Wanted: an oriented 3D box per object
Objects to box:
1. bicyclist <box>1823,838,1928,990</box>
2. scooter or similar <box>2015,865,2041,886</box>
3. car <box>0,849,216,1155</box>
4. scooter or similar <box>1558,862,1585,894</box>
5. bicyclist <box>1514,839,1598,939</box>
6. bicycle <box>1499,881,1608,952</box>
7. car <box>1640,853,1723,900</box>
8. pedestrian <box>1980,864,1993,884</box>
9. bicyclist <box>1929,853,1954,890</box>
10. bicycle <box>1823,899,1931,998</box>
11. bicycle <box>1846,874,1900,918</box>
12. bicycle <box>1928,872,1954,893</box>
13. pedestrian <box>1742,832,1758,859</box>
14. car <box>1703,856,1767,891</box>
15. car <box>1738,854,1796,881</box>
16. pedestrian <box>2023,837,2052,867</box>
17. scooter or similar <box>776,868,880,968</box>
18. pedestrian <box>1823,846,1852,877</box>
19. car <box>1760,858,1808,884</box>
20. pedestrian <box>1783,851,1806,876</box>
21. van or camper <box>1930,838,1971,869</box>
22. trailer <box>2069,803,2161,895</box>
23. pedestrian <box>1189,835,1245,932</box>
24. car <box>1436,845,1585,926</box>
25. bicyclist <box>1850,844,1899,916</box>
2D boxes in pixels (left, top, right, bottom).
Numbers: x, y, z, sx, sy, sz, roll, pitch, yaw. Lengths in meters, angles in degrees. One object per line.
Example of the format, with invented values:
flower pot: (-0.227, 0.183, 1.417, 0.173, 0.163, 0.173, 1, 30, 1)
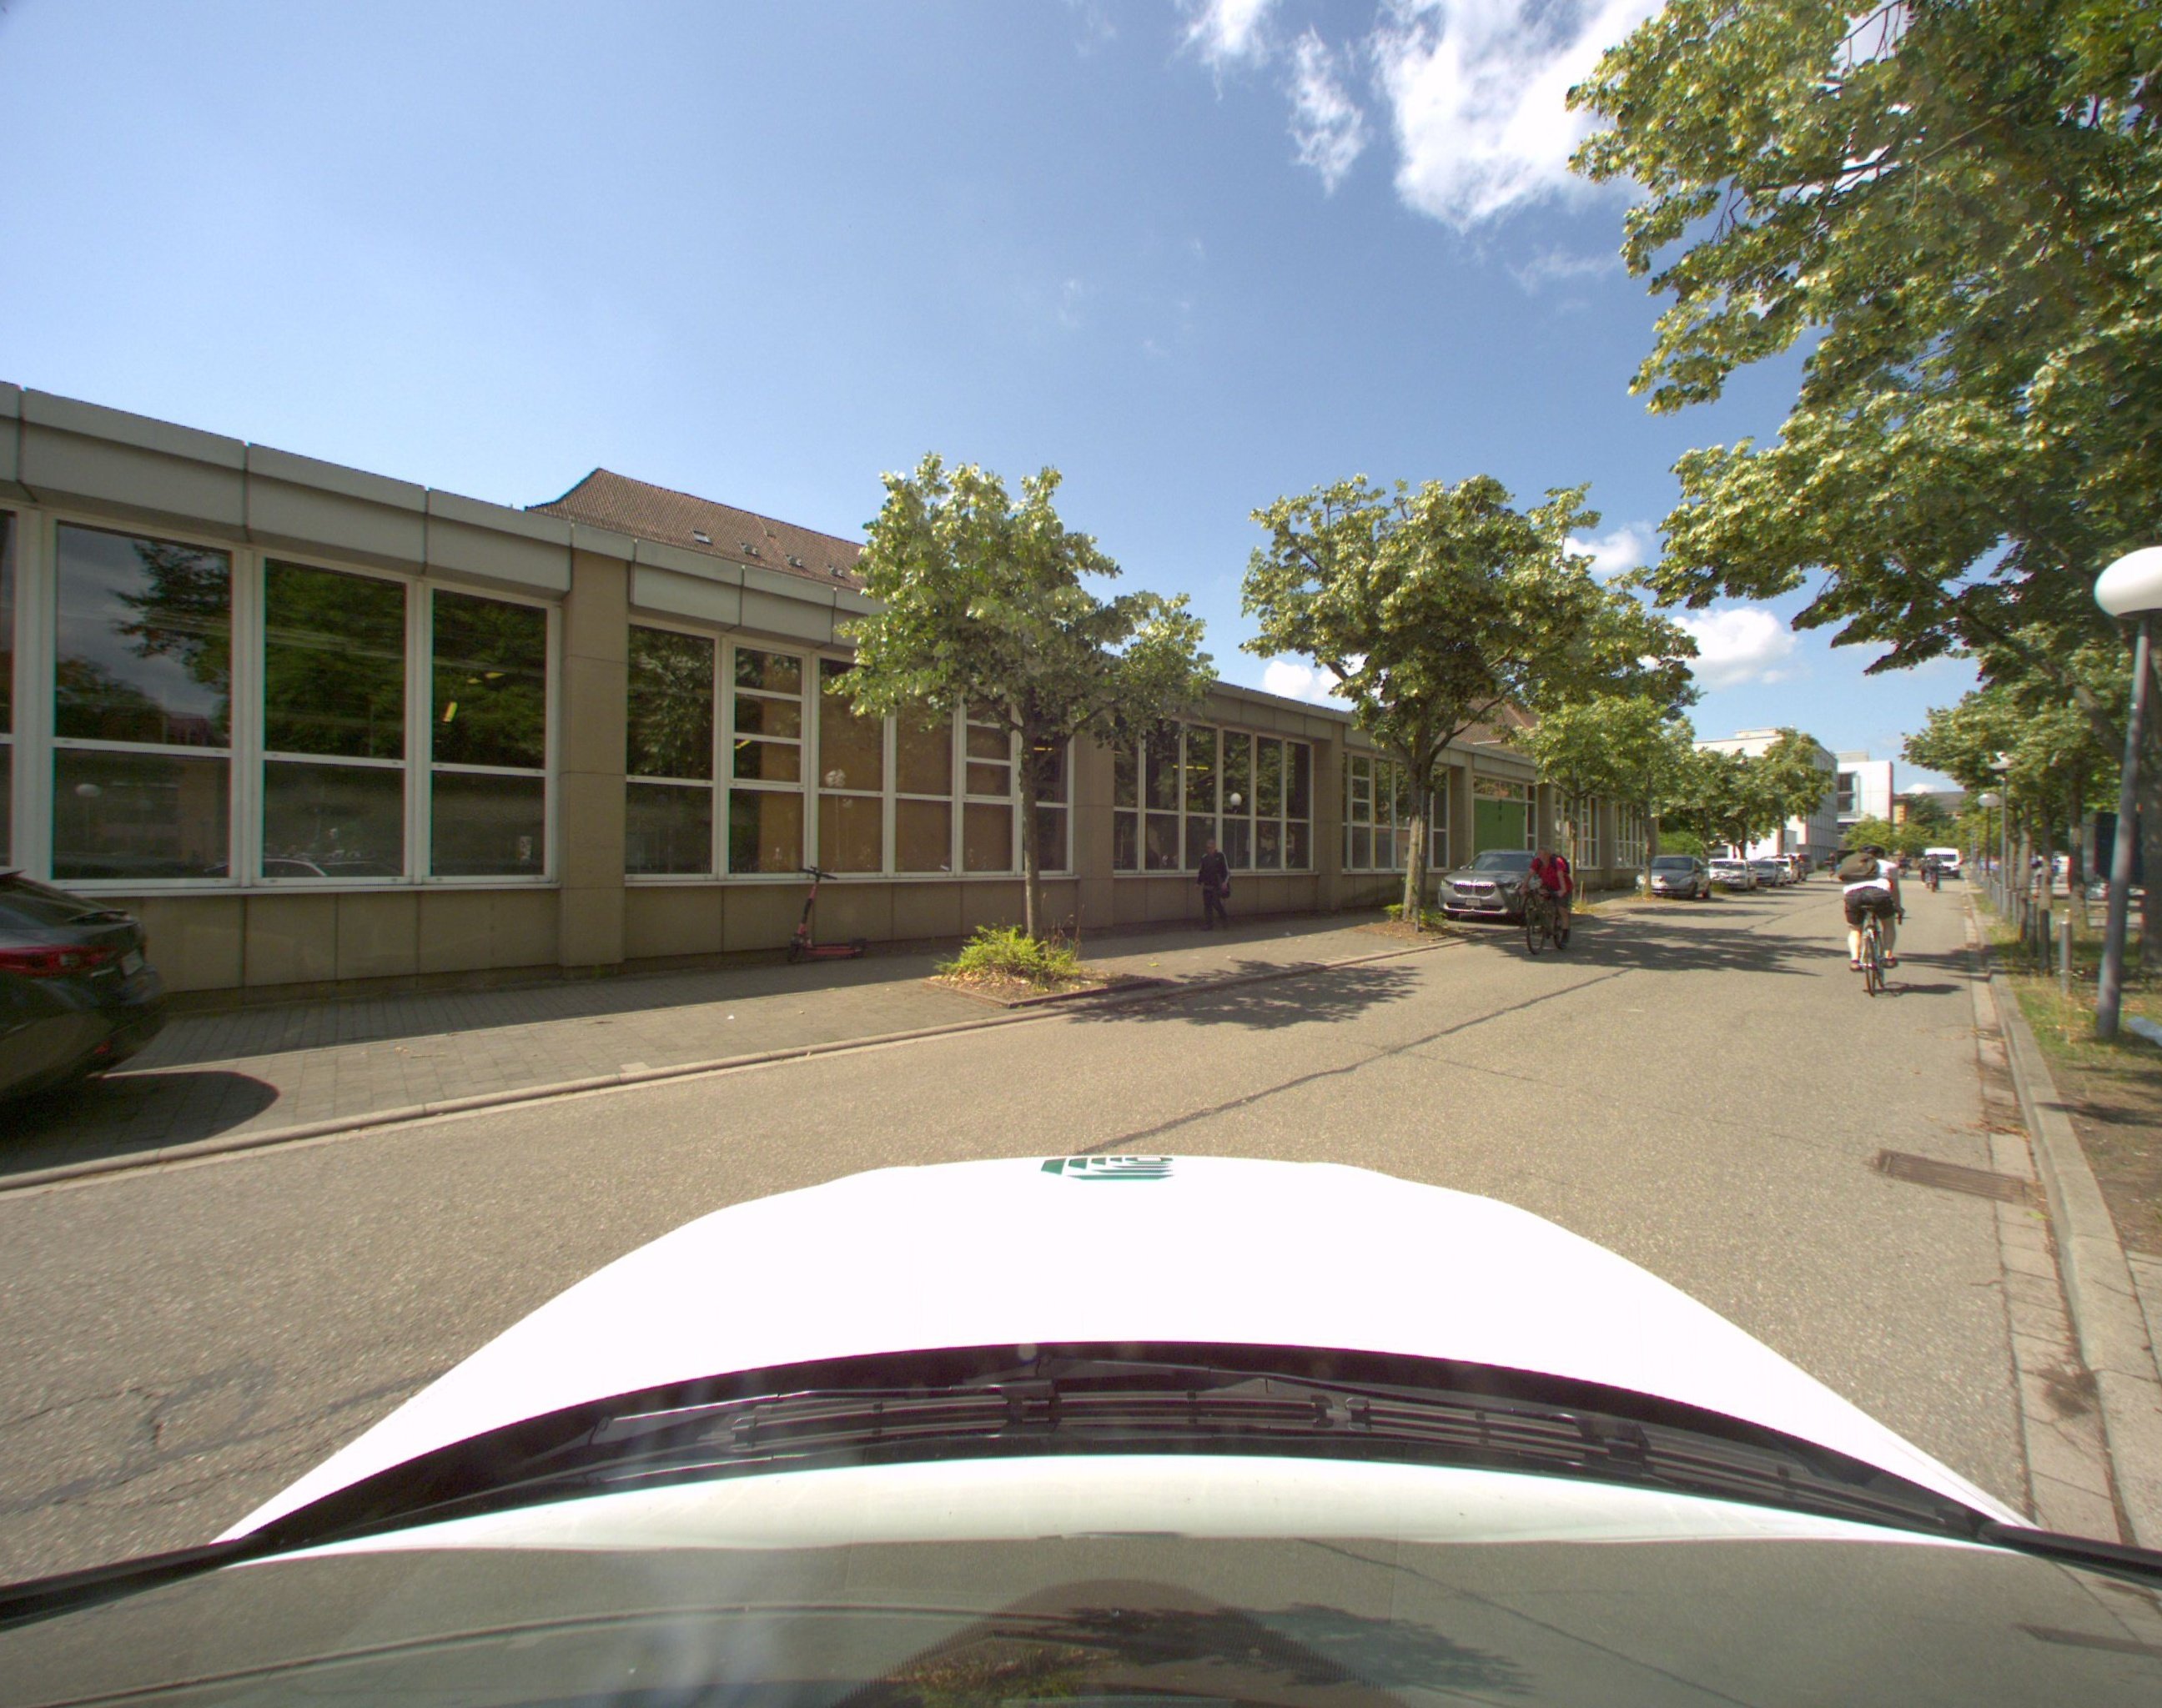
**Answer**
bicyclist: (9.397, 0.664, 9.629, 1.100, 1.662, 0.711, 1, 1, -39)
scooter or similar: (51.643, 1.175, 44.424, 1.267, 1.160, 0.645, 0, -1, -27)
car: (-6.953, 0.725, 3.509, 4.313, 1.435, 1.710, 0, 2, -43)
scooter or similar: (18.509, 0.898, 30.722, 1.222, 1.169, 0.501, 1, 1, -42)
bicyclist: (7.690, 0.557, 13.187, 0.964, 1.543, 0.829, 1, -3, -37)
bicycle: (7.677, 1.019, 13.203, 1.939, 1.042, 0.809, 5, -3, -37)
car: (22.048, 0.781, 29.845, 4.137, 1.556, 1.742, 1, 1, -44)
pedestrian: (87.302, 1.916, 78.535, 1.031, 1.860, 0.783, 1, -1, -41)
bicyclist: (42.022, 0.851, 39.773, 0.696, 1.756, 0.801, 2, -1, -41)
bicycle: (9.493, 1.069, 9.690, 1.920, 0.993, 0.701, 1, 0, -39)
bicycle: (20.065, 1.028, 20.613, 2.135, 1.002, 0.801, 1, 1, -41)
bicycle: (42.020, 1.378, 39.778, 2.135, 1.002, 0.801, 2, 0, -42)
pedestrian: (49.829, -0.639, 60.672, 0.611, 1.980, 0.832, 0, -2, 17)
car: (30.154, 0.867, 37.483, 4.609, 1.456, 1.710, 1, 1, -44)
car: (36.485, 0.706, 43.285, 4.187, 1.343, 1.711, 1, 2, -41)
pedestrian: (58.380, -0.129, 49.694, 0.707, 1.693, 0.953, -1, 5, -32)
scooter or similar: (-3.319, 0.808, 10.743, 1.253, 1.207, 0.379, 0, 2, -44)
pedestrian: (48.850, 0.495, 52.590, 0.848, 1.859, 1.118, -4, 4, 4)
car: (41.078, 0.945, 47.564, 3.828, 1.411, 1.647, 1, 1, -43)
pedestrian: (49.539, 0.657, 56.537, 0.698, 1.739, 0.981, 1, 0, -7)
van or camper: (71.034, -0.004, 66.508, 4.592, 2.446, 1.977, 2, -2, -40)
trailer: (38.272, -0.130, 29.475, 6.292, 3.052, 2.667, 1, -2, -44)
pedestrian: (2.599, 0.533, 15.563, 0.674, 1.787, 0.781, 0, 1, -41)
car: (10.246, 0.674, 19.278, 4.543, 1.632, 1.805, 1, 1, -45)
bicyclist: (20.123, 0.637, 20.662, 0.853, 1.756, 0.764, 1, 1, -41)
